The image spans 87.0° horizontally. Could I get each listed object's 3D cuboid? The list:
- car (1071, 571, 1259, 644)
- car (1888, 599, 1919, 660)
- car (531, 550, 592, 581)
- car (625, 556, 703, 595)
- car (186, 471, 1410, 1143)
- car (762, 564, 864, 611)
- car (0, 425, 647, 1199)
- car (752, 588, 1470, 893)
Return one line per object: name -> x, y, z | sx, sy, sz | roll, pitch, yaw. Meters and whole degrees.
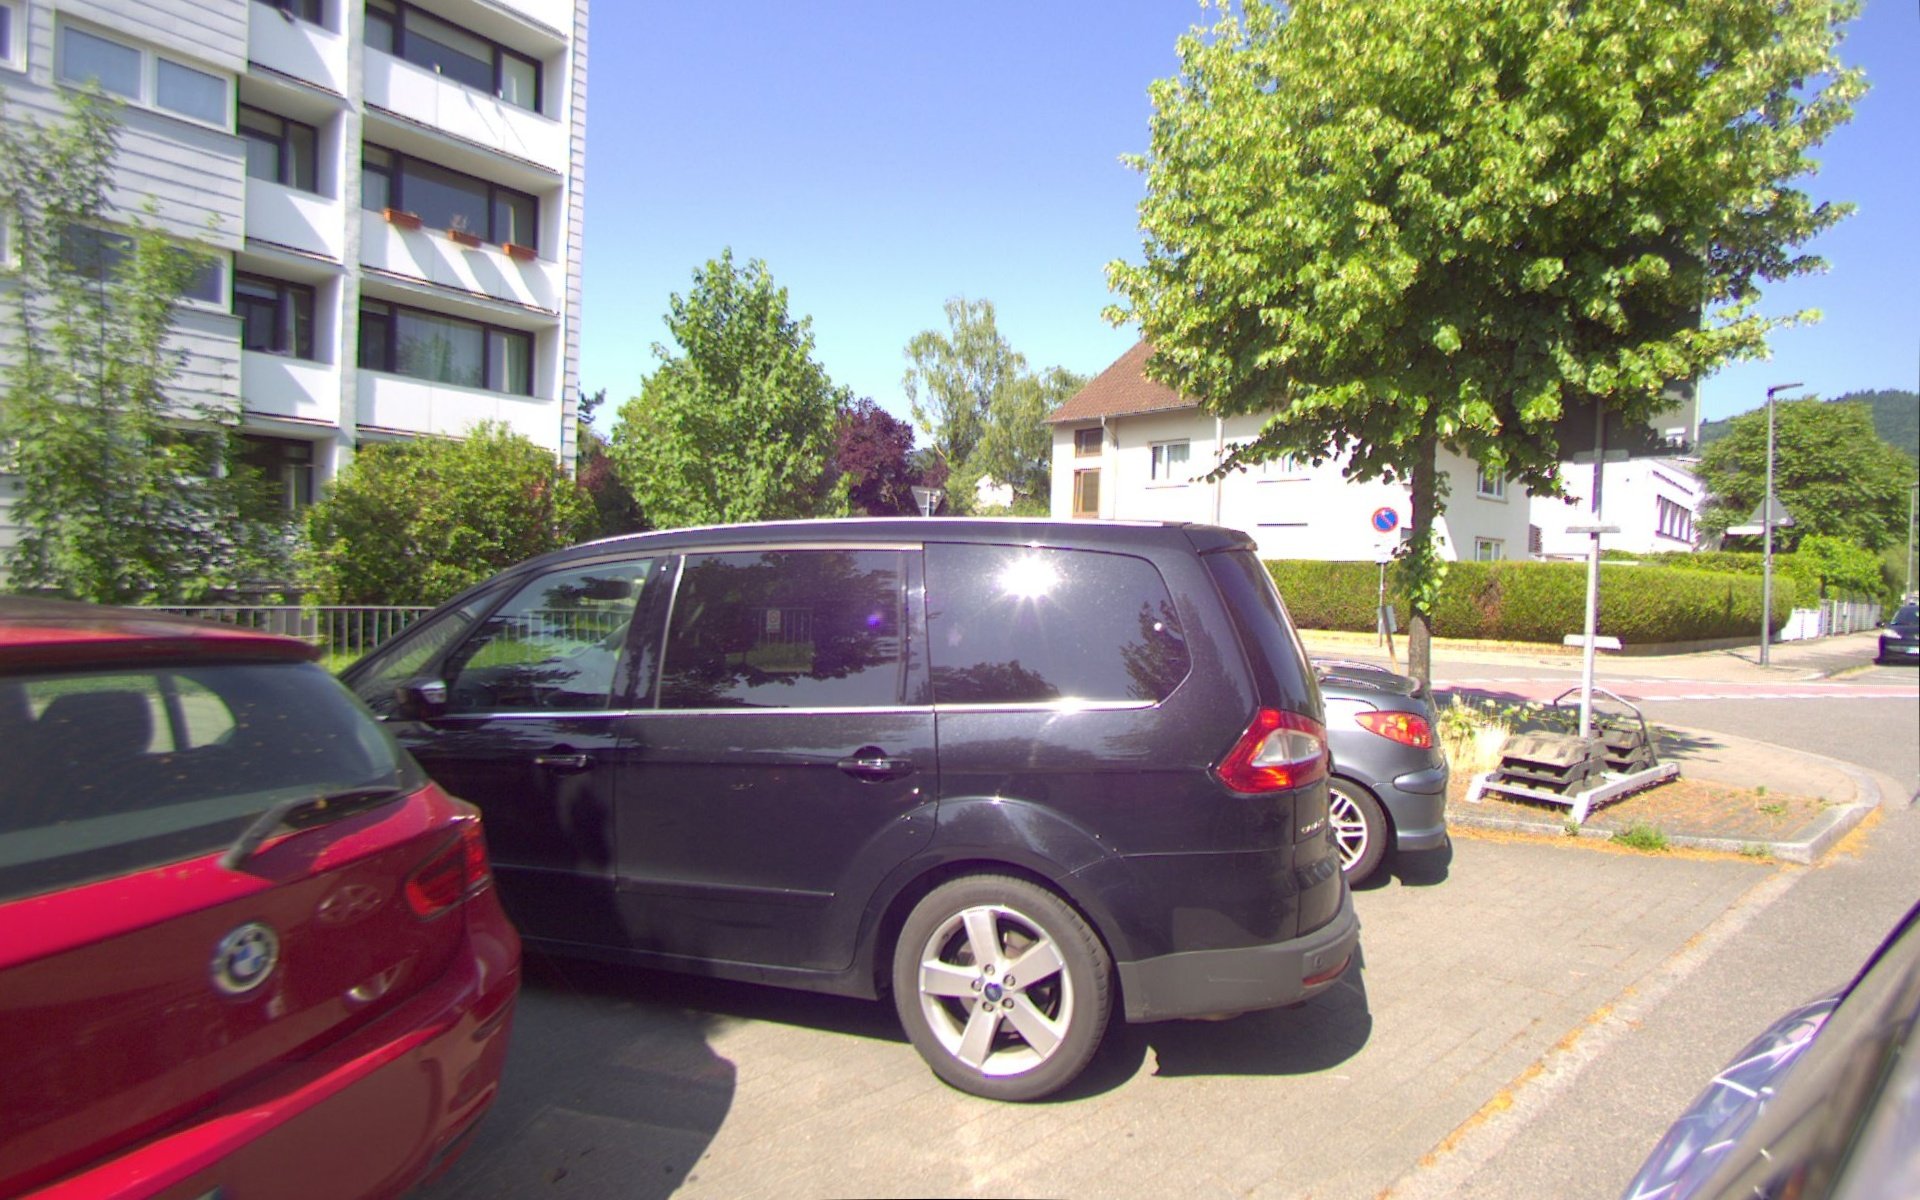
car -> 4.788, 0.139, 24.084 | 1.778, 1.415, 4.126 | 4, 0, -40
car -> 23.792, 0.685, 24.465 | 3.931, 1.408, 1.619 | 0, -1, -42
car -> -21.955, -1.918, 55.707 | 1.883, 1.523, 3.995 | 2, 2, -41
car -> -13.482, -1.126, 45.979 | 1.883, 1.575, 3.995 | 2, 2, -41
car -> -0.587, 0.420, 4.071 | 4.064, 1.660, 2.034 | 2, 1, 17
car -> -5.247, -0.466, 35.800 | 1.620, 1.473, 3.995 | 2, 2, -41
car -> -2.919, 0.545, 2.149 | 3.944, 1.660, 1.871 | 2, 2, 16
car -> 0.863, 0.629, 6.269 | 3.957, 1.252, 1.739 | 3, 2, 24
